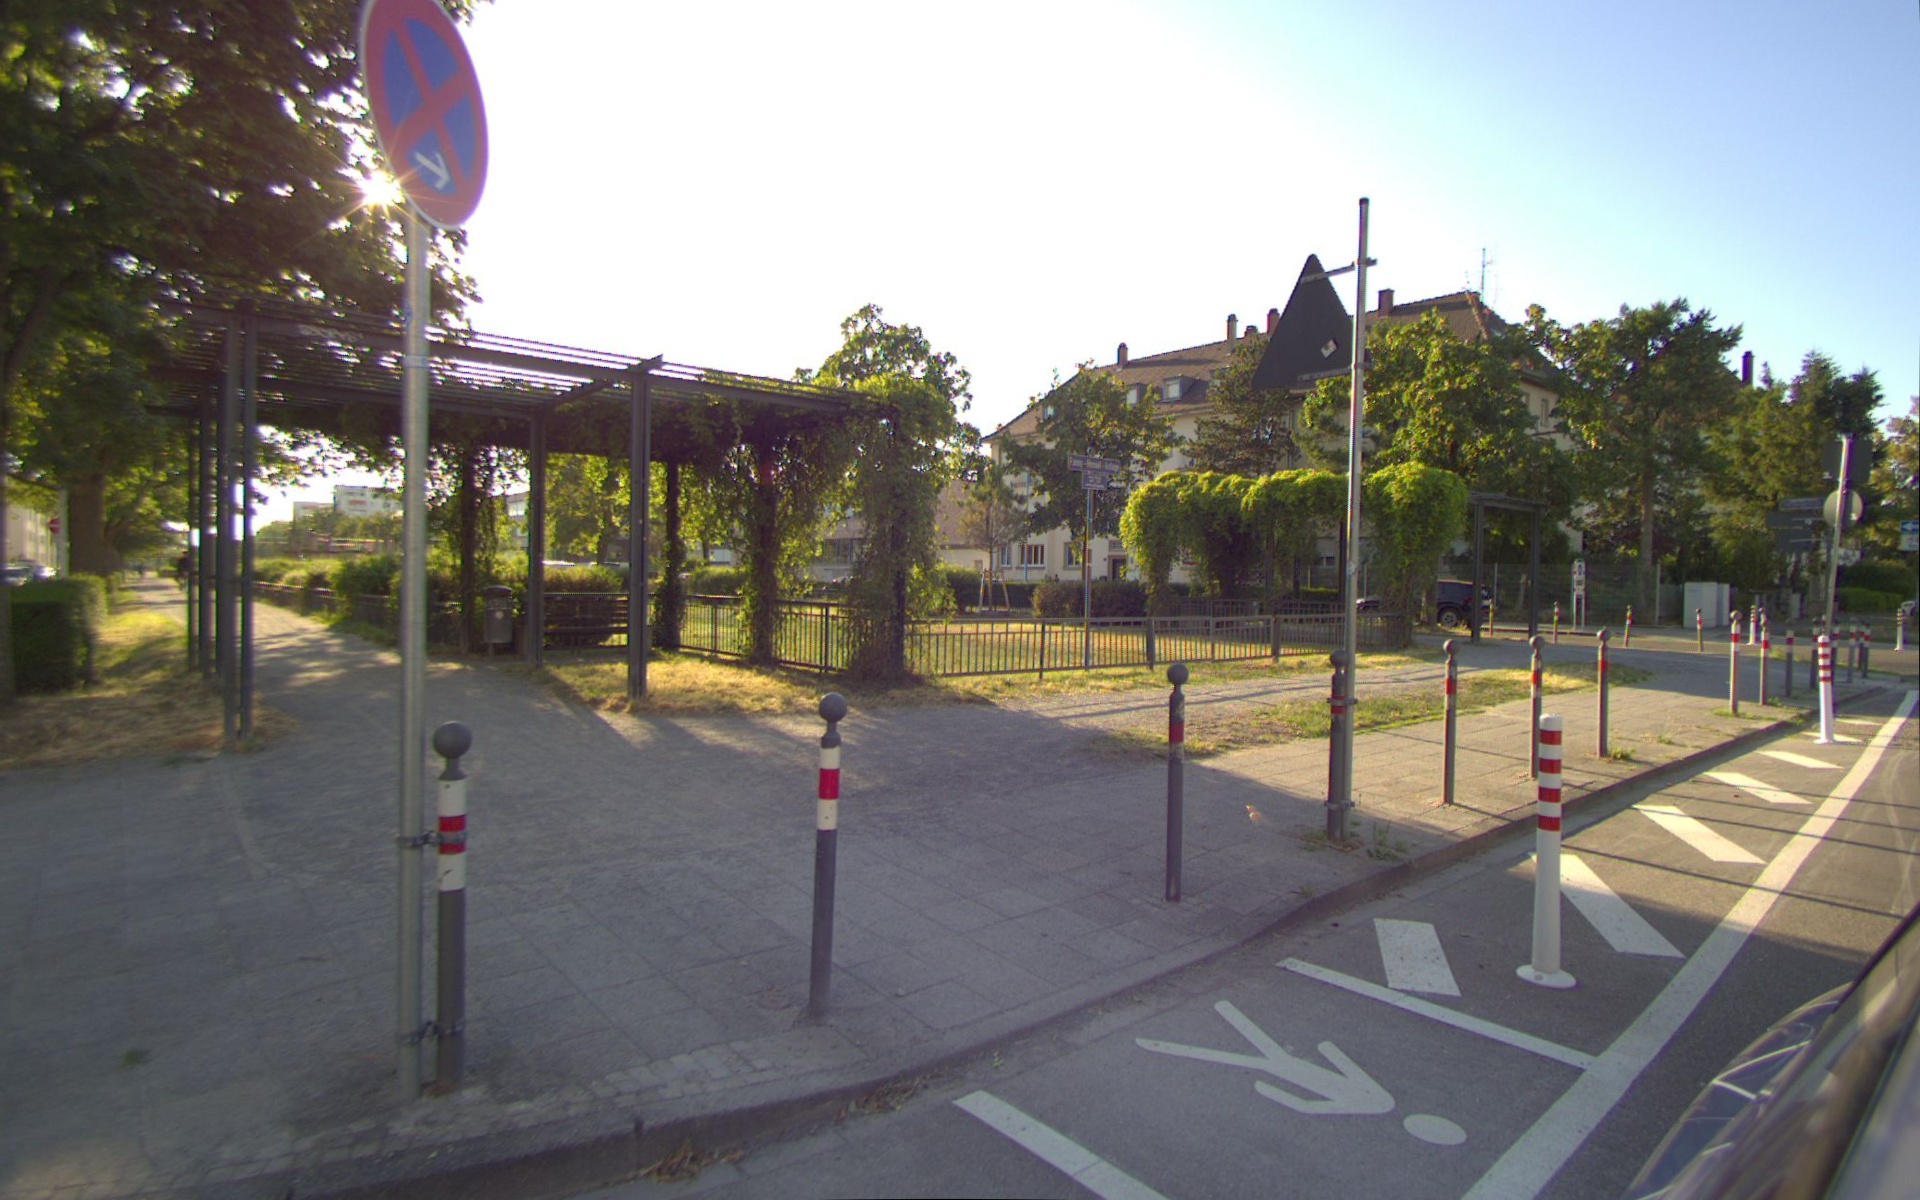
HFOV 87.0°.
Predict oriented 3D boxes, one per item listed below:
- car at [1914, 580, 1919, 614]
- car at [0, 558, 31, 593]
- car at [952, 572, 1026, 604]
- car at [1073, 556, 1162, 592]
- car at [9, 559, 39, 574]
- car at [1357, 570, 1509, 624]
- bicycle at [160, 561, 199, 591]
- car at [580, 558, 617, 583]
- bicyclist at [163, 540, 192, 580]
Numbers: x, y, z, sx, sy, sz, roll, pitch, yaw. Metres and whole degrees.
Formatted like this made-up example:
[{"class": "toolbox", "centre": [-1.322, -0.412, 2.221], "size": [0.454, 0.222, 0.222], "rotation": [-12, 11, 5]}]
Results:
[{"class": "car", "centre": [48.629, -0.091, 47.976], "size": [1.938, 1.634, 4.830], "rotation": [-1, 2, -41]}, {"class": "car", "centre": [-47.241, -1.230, 50.060], "size": [1.751, 1.660, 3.736], "rotation": [0, 2, -41]}, {"class": "car", "centre": [1.483, -0.663, 52.407], "size": [1.740, 1.545, 3.767], "rotation": [-2, 2, -41]}, {"class": "car", "centre": [7.058, -1.184, 45.569], "size": [1.705, 1.537, 3.756], "rotation": [0, 2, -40]}, {"class": "car", "centre": [-94.409, -3.363, 102.087], "size": [1.796, 1.535, 3.754], "rotation": [0, 2, -36]}, {"class": "car", "centre": [15.747, -0.127, 33.849], "size": [1.791, 1.662, 4.210], "rotation": [3, -1, -41]}, {"class": "bicycle", "centre": [-32.955, -1.032, 42.694], "size": [3.099, 1.237, 0.874], "rotation": [2, 2, 44]}, {"class": "car", "centre": [-32.748, -2.659, 91.547], "size": [1.964, 2.150, 3.997], "rotation": [0, 2, -39]}, {"class": "bicyclist", "centre": [-33.162, -1.678, 42.899], "size": [0.862, 1.668, 0.848], "rotation": [2, 1, 43]}]
